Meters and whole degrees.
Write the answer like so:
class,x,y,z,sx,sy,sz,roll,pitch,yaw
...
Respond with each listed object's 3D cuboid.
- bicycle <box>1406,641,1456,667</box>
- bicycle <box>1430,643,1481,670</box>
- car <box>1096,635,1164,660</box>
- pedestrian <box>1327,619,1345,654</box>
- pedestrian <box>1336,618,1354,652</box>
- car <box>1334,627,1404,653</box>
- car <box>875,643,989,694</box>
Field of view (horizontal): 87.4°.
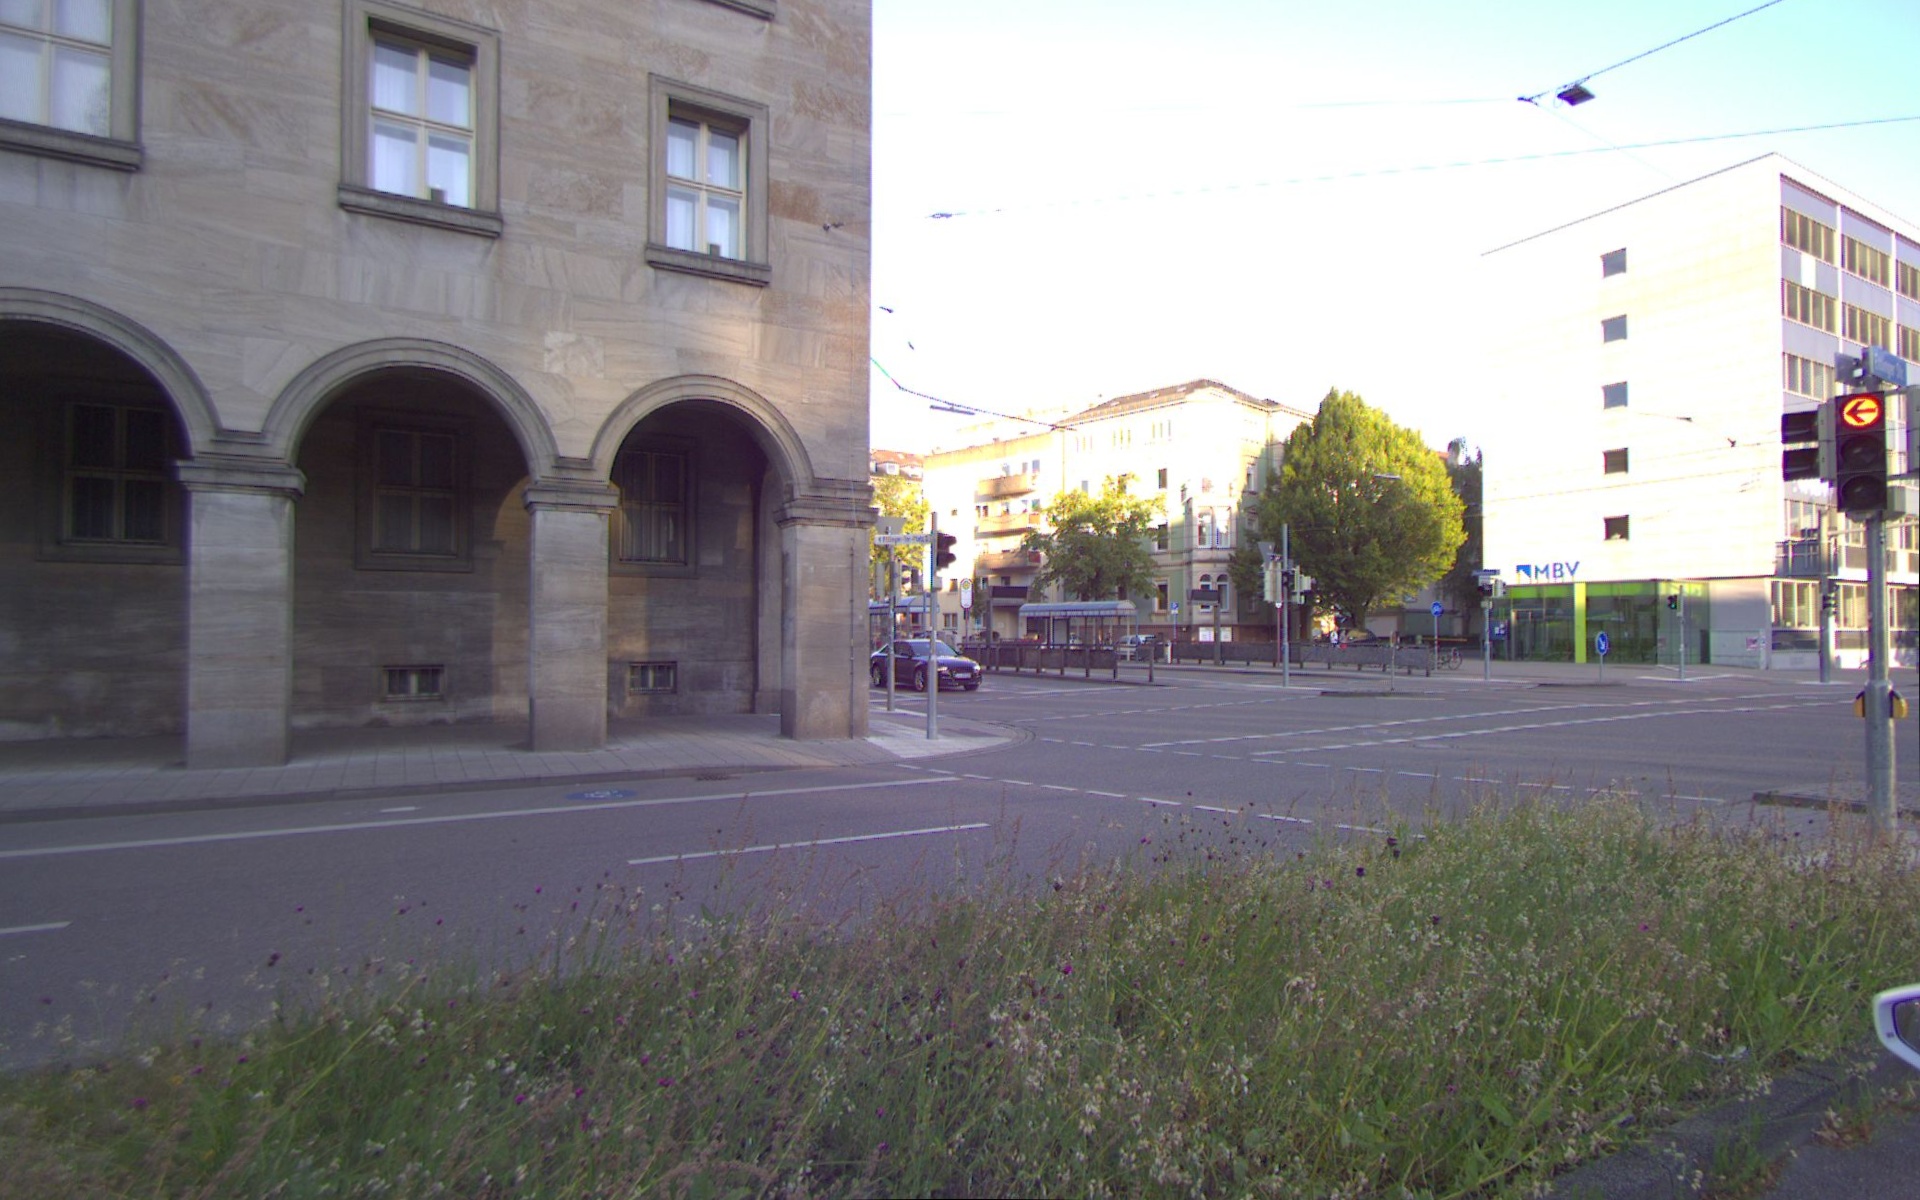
class,x,y,z,sx,sy,sz,roll,pitch,yaw
bicycle,21.007,2.410,44.795,2.183,1.127,0.834,1,-2,-26
bicycle,21.560,2.439,43.687,2.183,1.127,0.834,1,-2,-26
car,9.995,2.772,59.228,3.545,1.390,1.830,-2,-3,45
pedestrian,19.916,1.941,53.241,0.718,1.813,0.634,2,-2,-44
pedestrian,20.565,1.874,53.665,0.718,1.813,0.634,2,-2,-43
car,22.402,2.186,54.954,3.553,1.390,1.826,1,-2,-32
car,-0.912,1.973,29.732,1.791,1.344,4.120,1,-2,-27
